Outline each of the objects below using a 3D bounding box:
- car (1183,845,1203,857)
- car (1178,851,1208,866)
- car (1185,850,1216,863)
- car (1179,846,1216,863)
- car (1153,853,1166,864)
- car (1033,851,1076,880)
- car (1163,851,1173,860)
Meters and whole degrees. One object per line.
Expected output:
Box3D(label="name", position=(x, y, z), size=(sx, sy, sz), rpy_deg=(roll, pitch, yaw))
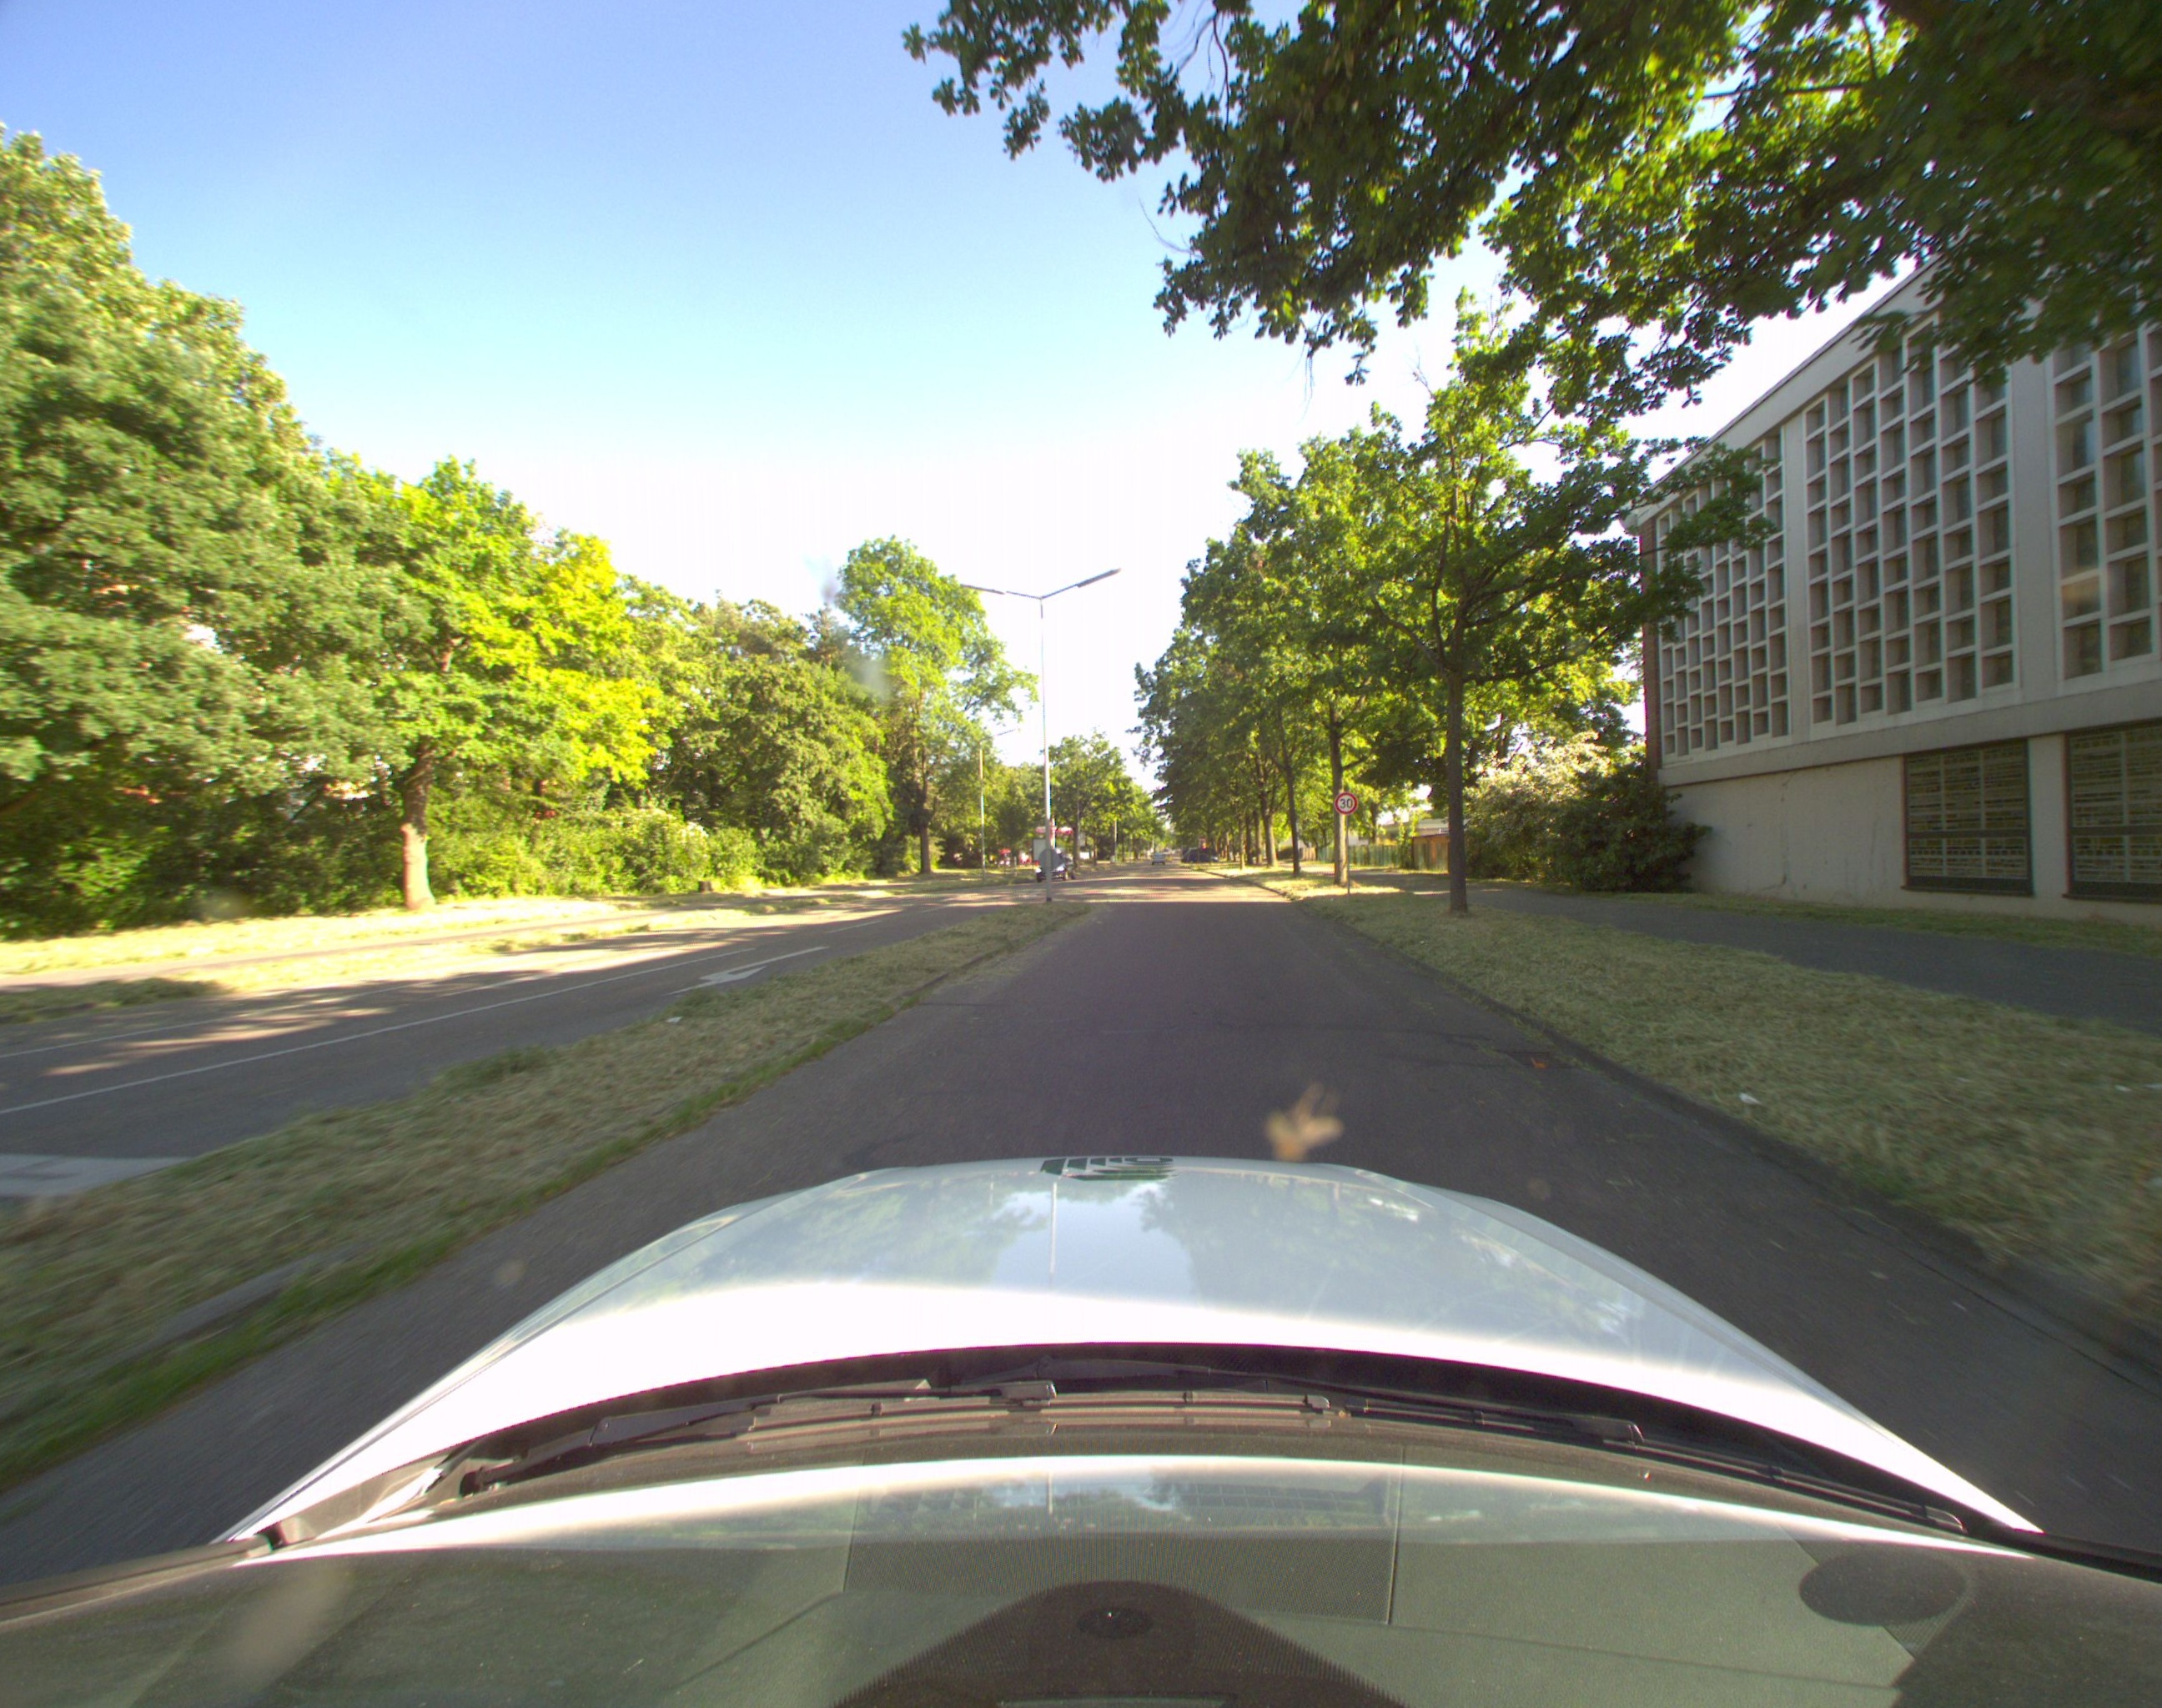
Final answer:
Box3D(label="car", position=(20.800, -0.536, 151.015), size=(3.550, 2.051, 1.635), rpy_deg=(-2, -4, 5))
Box3D(label="car", position=(14.349, 0.565, 104.296), size=(3.635, 1.797, 1.319), rpy_deg=(-2, -2, 5))
Box3D(label="car", position=(14.508, 0.313, 98.785), size=(3.635, 1.398, 1.319), rpy_deg=(-2, -2, 5))
Box3D(label="car", position=(14.512, 0.039, 101.739), size=(4.480, 1.953, 1.690), rpy_deg=(-2, -2, 5))
Box3D(label="car", position=(10.213, 0.587, 106.246), size=(1.653, 1.337, 3.670), rpy_deg=(-2, -2, 5))
Box3D(label="car", position=(-1.603, 0.693, 51.031), size=(1.828, 1.708, 4.516), rpy_deg=(-2, 0, 9))
Box3D(label="car", position=(13.997, 0.205, 131.268), size=(1.653, 1.337, 3.670), rpy_deg=(-2, -2, 5))
